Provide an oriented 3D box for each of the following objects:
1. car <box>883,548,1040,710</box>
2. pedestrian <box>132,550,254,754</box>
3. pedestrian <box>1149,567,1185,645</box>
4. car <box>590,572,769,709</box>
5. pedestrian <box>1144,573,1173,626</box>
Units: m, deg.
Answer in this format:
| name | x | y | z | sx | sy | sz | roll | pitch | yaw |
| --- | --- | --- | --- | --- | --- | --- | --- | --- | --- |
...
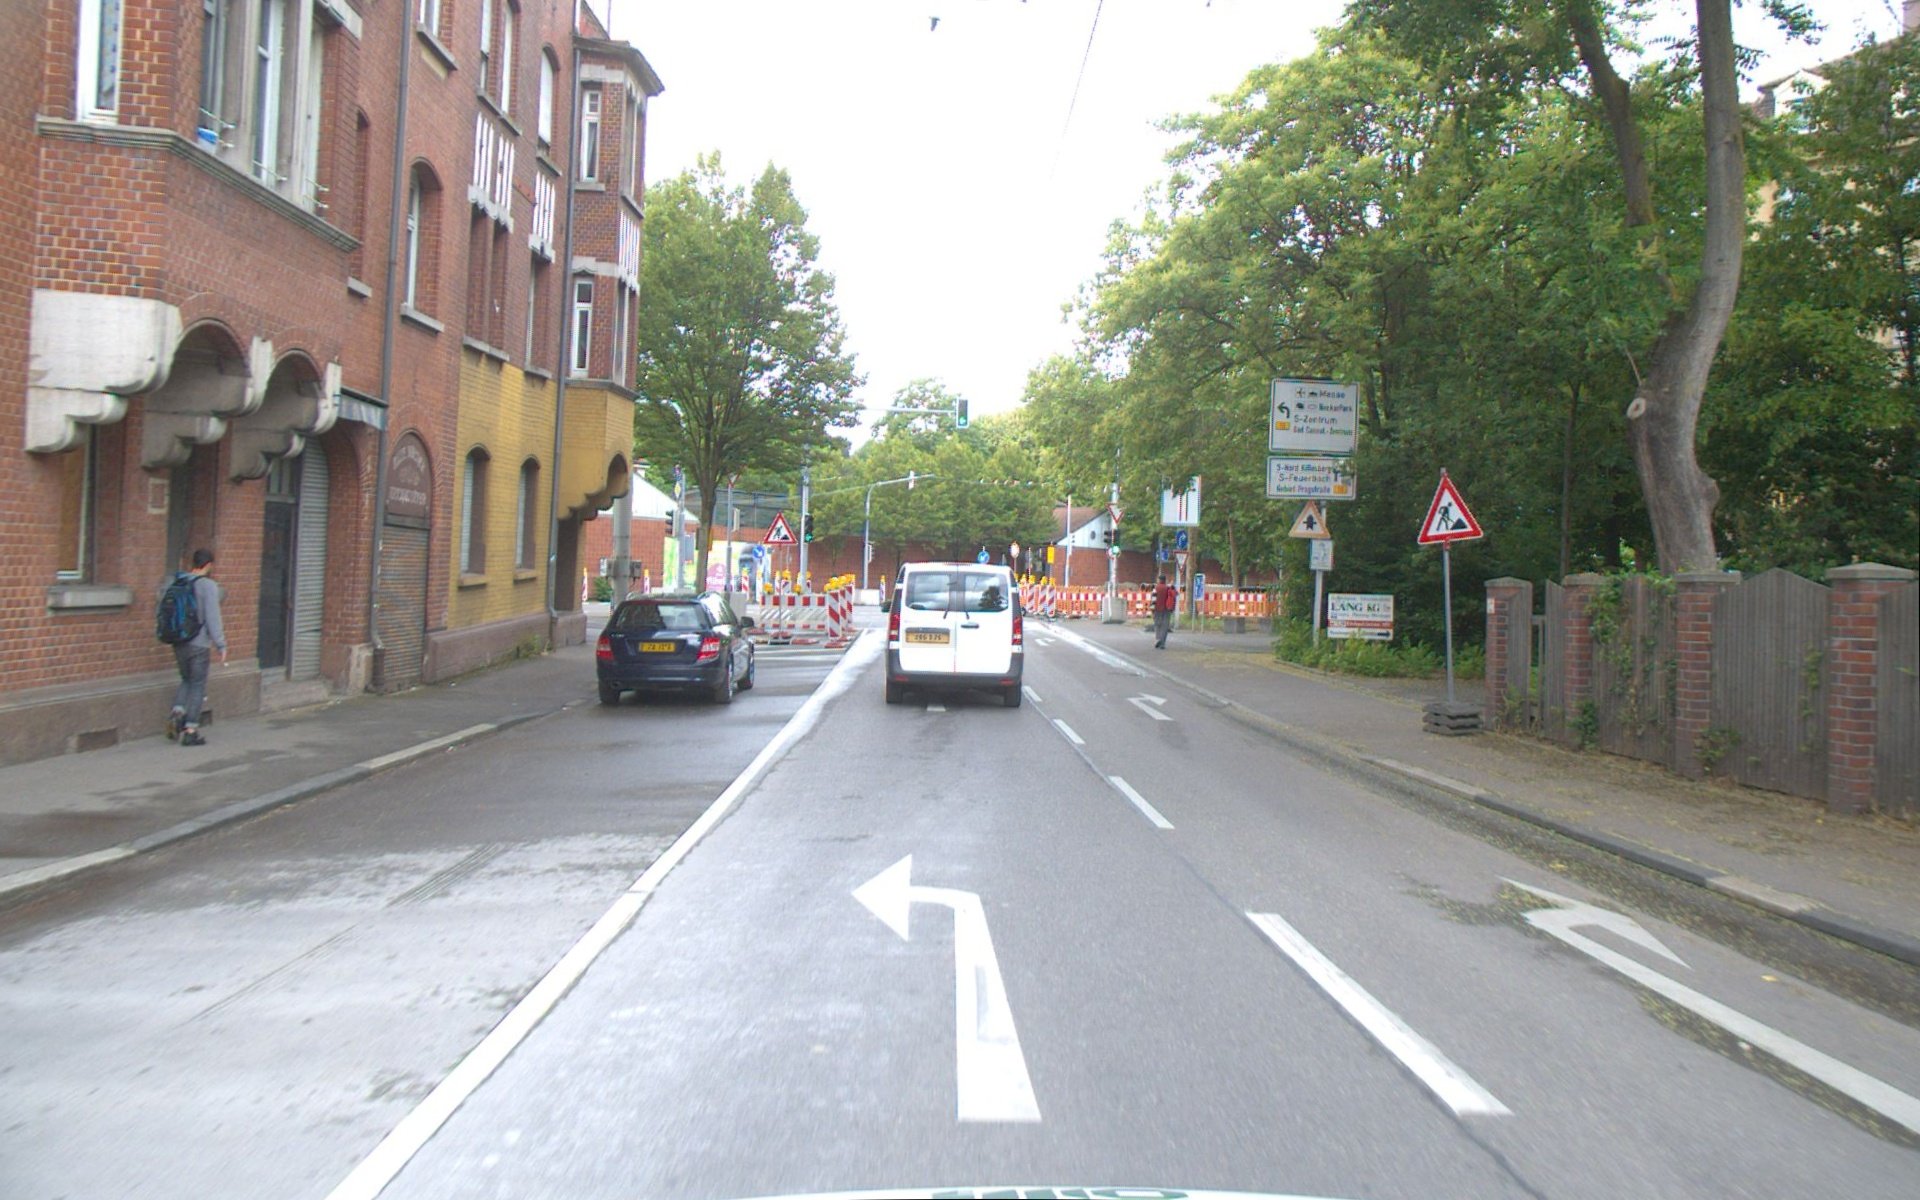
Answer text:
| name | x | y | z | sx | sy | sz | roll | pitch | yaw |
| --- | --- | --- | --- | --- | --- | --- | --- | --- | --- |
| car | -0.051 | 0.417 | 23.669 | 1.879 | 1.934 | 4.699 | 5 | -1 | -2 |
| pedestrian | -6.439 | 0.422 | 13.909 | 0.646 | 1.637 | 0.632 | 4 | 1 | -1 |
| pedestrian | 5.066 | 0.139 | 40.444 | 0.763 | 1.863 | 0.727 | -1 | 1 | -1 |
| car | -3.781 | 0.472 | 23.015 | 1.690 | 1.511 | 4.391 | 3 | 3 | 0 |
| pedestrian | 6.481 | -0.022 | 53.955 | 0.717 | 1.727 | 0.836 | 0 | 2 | -10 |
